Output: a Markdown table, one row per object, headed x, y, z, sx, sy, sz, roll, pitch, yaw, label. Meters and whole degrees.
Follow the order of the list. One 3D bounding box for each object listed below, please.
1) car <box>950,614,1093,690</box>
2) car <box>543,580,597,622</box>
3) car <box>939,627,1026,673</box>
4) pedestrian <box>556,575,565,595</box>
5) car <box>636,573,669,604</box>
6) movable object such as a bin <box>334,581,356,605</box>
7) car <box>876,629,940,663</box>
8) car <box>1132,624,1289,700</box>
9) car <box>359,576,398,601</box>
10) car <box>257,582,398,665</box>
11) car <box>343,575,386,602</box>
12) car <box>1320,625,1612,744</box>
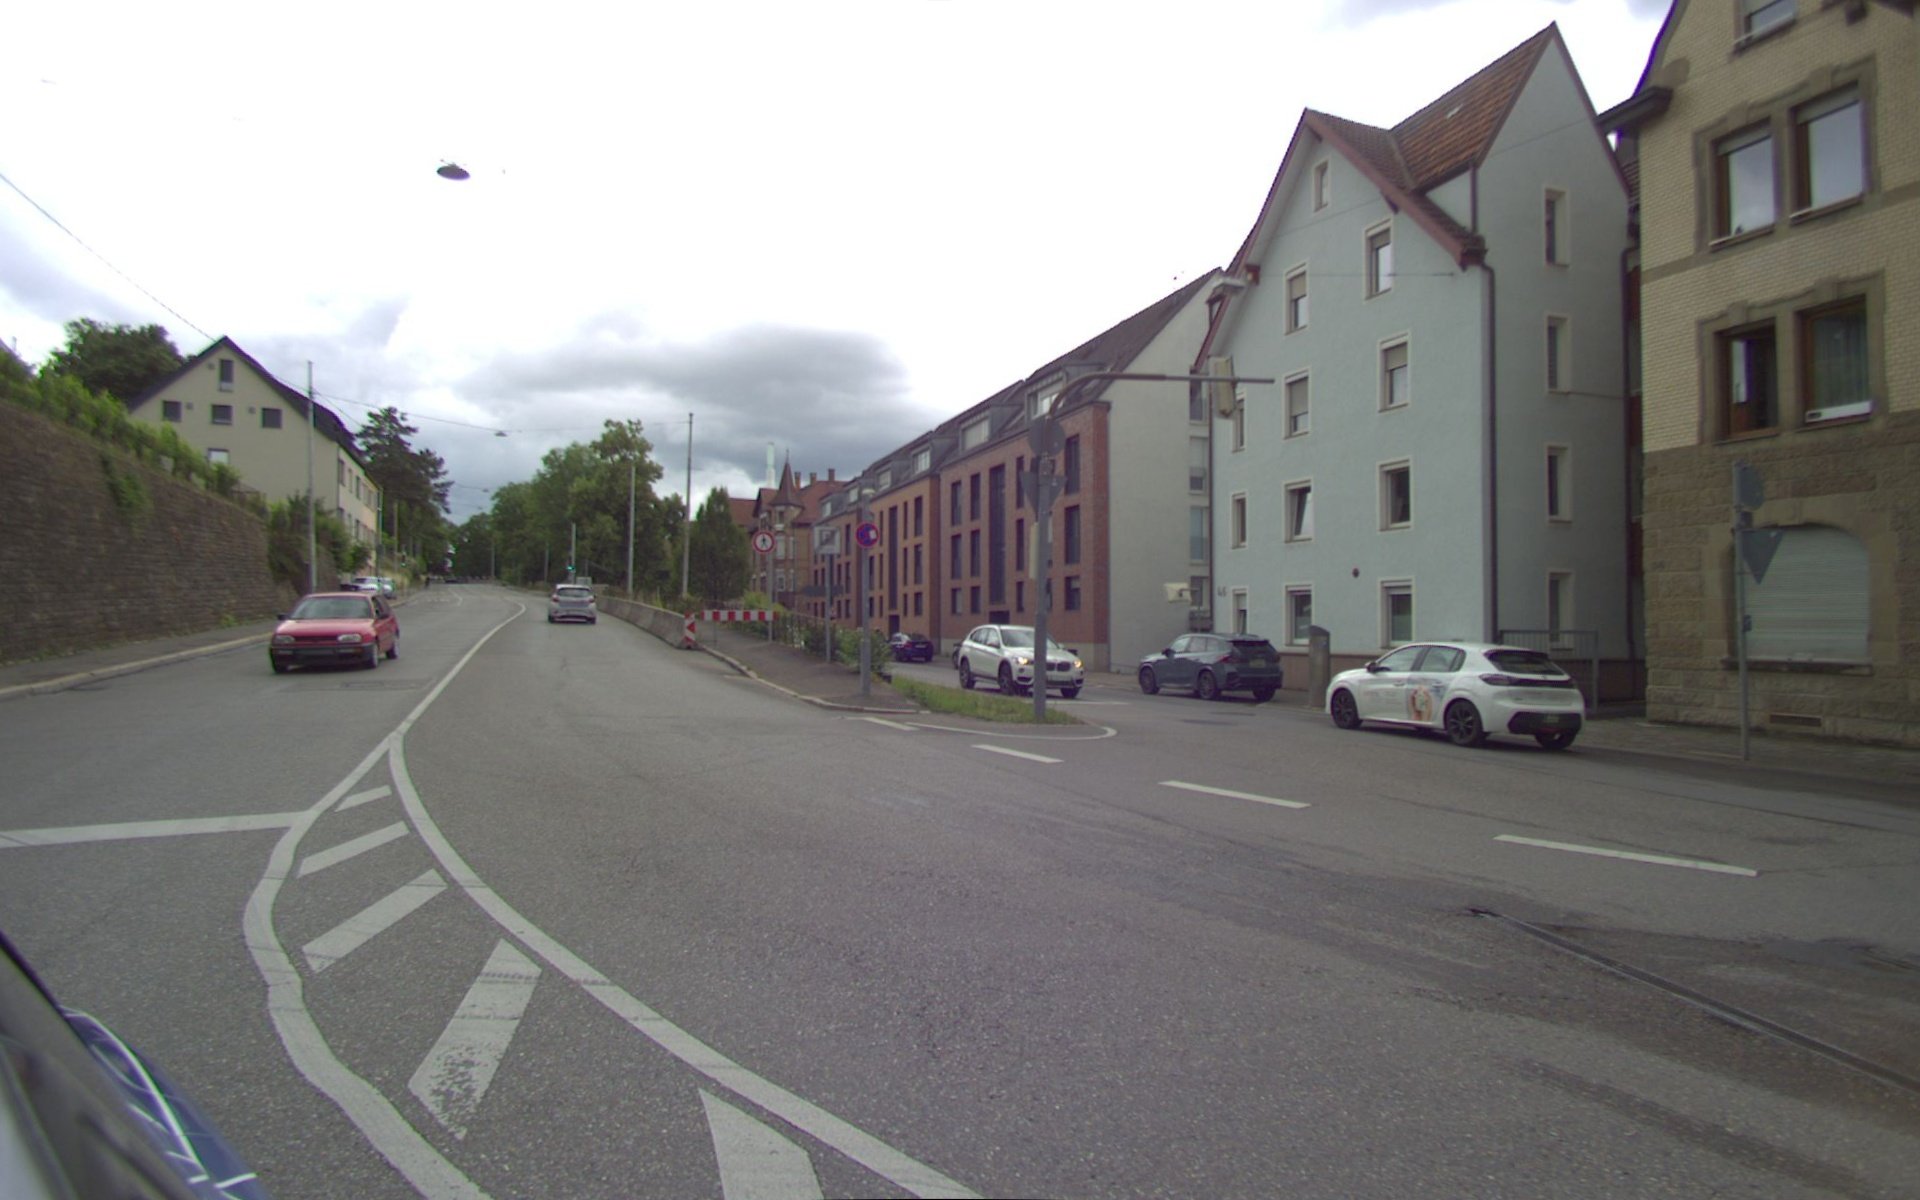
| x | y | z | sx | sy | sz | roll | pitch | yaw | label |
| --- | --- | --- | --- | --- | --- | --- | --- | --- | --- |
| 1.340 | 1.161 | 24.265 | 1.802 | 1.525 | 4.438 | 0 | 1 | -20 | car |
| -15.239 | 0.056 | 39.439 | 1.646 | 1.479 | 3.655 | 3 | -2 | -25 | car |
| 0.855 | 2.042 | 41.766 | 1.965 | 1.674 | 4.013 | 3 | -2 | -25 | car |
| -34.536 | -1.288 | 87.502 | 0.723 | 1.725 | 0.698 | 0 | 1 | -20 | pedestrian |
| -27.939 | -1.099 | 91.848 | 2.523 | 2.601 | 5.755 | -1 | 2 | -20 | car |
| -29.547 | -0.344 | 48.601 | 0.797 | 1.135 | 0.878 | 0 | 1 | -23 | movable object such as a bin |
| -2.675 | 2.301 | 51.170 | 1.965 | 1.497 | 4.013 | 2 | -1 | -22 | car |
| 6.153 | 1.467 | 25.388 | 1.658 | 1.567 | 4.248 | 0 | 1 | -21 | car |
| -39.067 | -0.815 | 68.078 | 1.703 | 1.586 | 4.264 | -1 | 2 | -23 | car |
| -12.195 | 0.406 | 19.751 | 1.619 | 1.449 | 4.013 | 0 | 0 | -22 | car |
| -37.297 | -0.771 | 63.449 | 1.769 | 1.586 | 4.069 | -1 | 2 | -23 | car |
| 7.269 | 1.153 | 15.028 | 1.658 | 1.477 | 3.929 | 3 | -2 | -15 | car |
